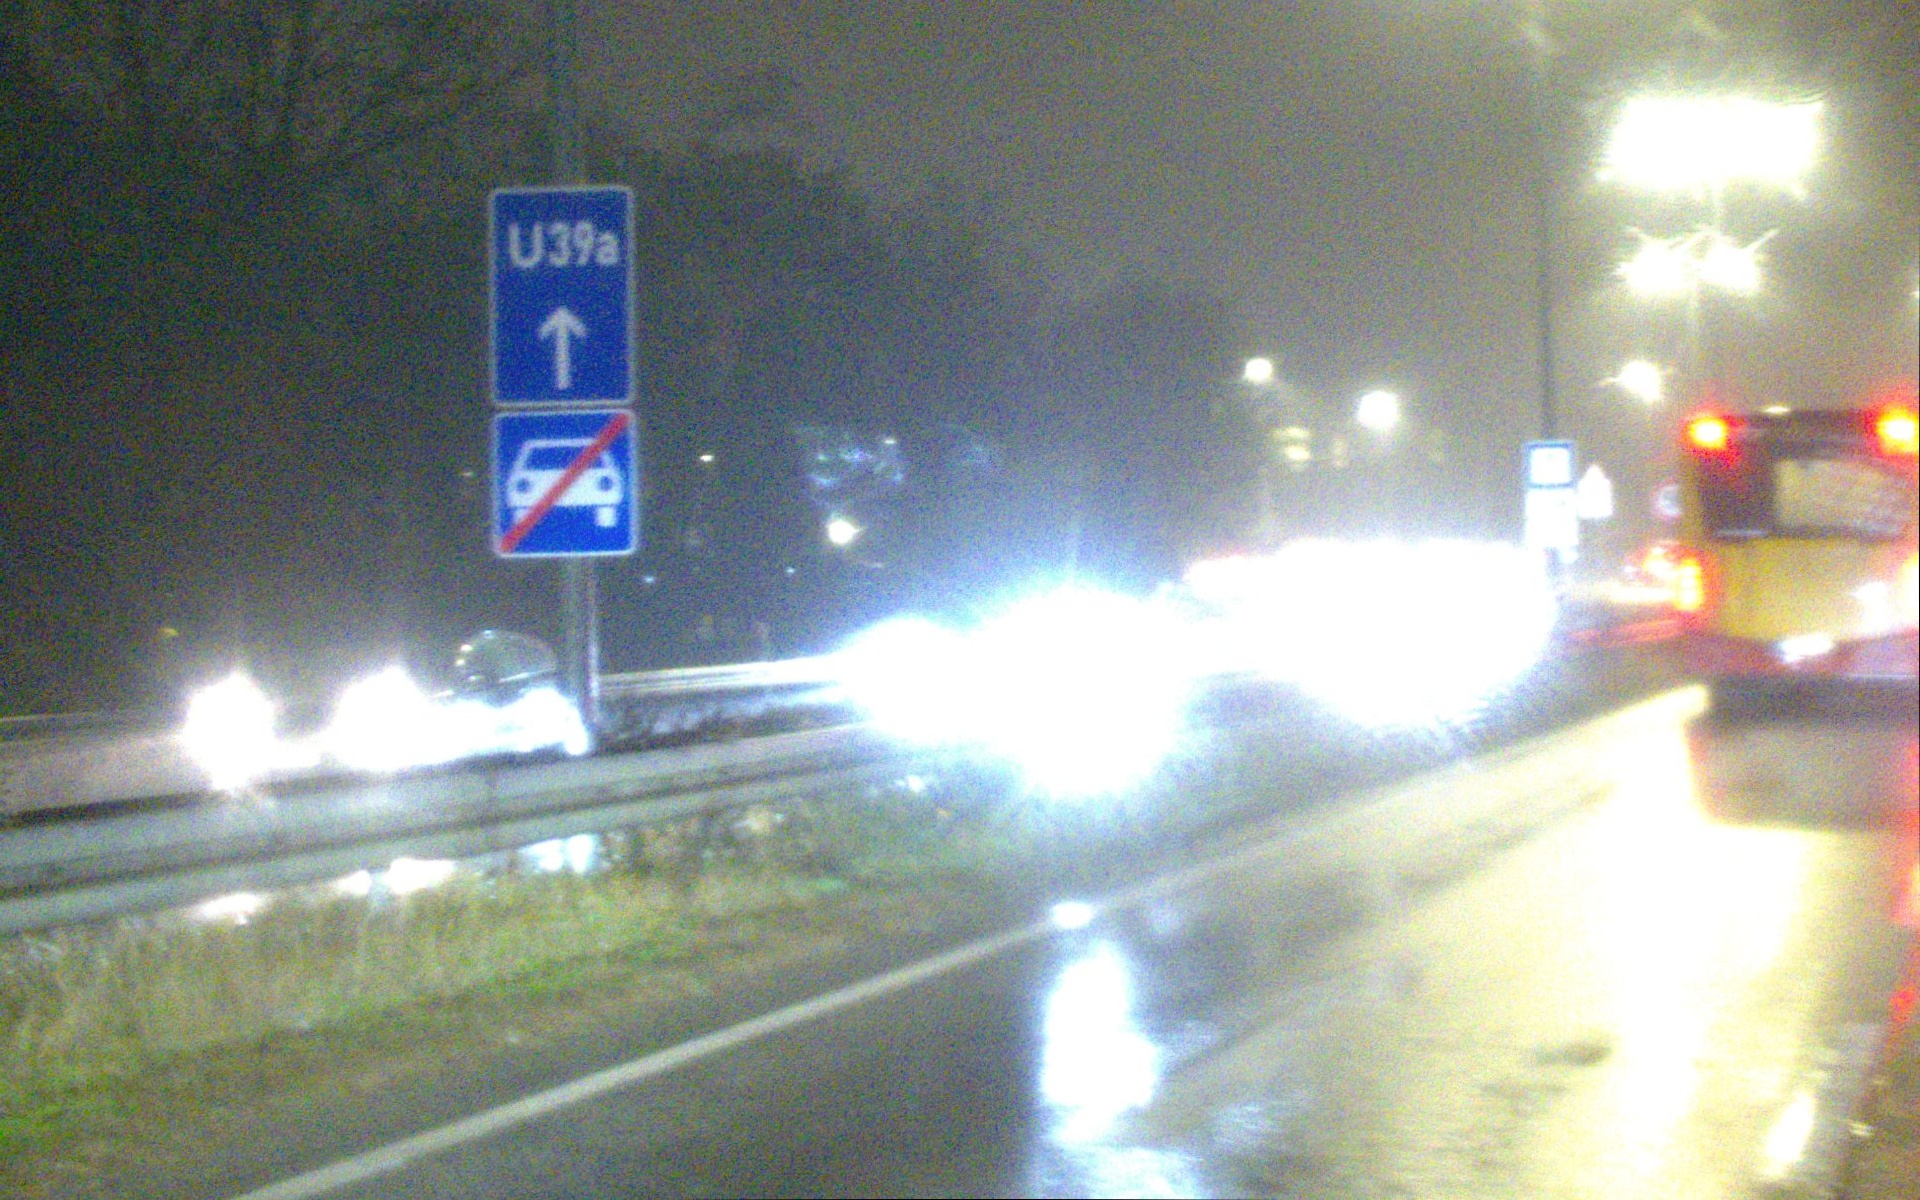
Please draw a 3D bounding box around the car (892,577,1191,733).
[{"bbox_3d":[0.879,0.484,33.304,1.612,1.377,4.742,-1,0,18],"label":"car"}]

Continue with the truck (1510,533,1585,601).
[{"bbox_3d":[22.849,-1.313,133.889,1.855,2.385,4.780,-3,3,-2],"label":"truck"}]

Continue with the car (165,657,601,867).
[{"bbox_3d":[-4.476,1.236,27.317,1.612,1.377,4.160,-3,0,18],"label":"car"}]

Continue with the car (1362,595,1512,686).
[{"bbox_3d":[8.530,0.696,61.197,1.857,1.471,4.775,-1,0,17],"label":"car"}]

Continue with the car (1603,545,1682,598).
[{"bbox_3d":[26.052,-1.077,131.409,1.993,2.007,4.000,0,0,-4],"label":"car"}]

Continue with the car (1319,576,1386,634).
[{"bbox_3d":[13.997,0.163,122.444,1.994,2.007,3.998,0,0,12],"label":"car"}]

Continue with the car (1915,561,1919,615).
[{"bbox_3d":[29.466,-0.388,102.608,1.821,1.585,3.774,-1,0,15],"label":"car"}]

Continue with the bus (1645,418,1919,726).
[{"bbox_3d":[9.416,-0.313,38.254,2.817,3.014,8.680,0,0,16],"label":"bus"}]

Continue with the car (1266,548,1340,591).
[{"bbox_3d":[16.335,-1.453,163.836,1.993,2.007,4.001,0,0,-20],"label":"car"}]

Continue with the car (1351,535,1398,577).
[{"bbox_3d":[20.313,-2.148,168.454,2.121,2.007,3.999,0,0,5],"label":"car"}]

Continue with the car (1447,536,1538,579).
[{"bbox_3d":[22.551,-1.816,145.747,1.993,1.680,4.001,1,2,-22],"label":"car"}]
